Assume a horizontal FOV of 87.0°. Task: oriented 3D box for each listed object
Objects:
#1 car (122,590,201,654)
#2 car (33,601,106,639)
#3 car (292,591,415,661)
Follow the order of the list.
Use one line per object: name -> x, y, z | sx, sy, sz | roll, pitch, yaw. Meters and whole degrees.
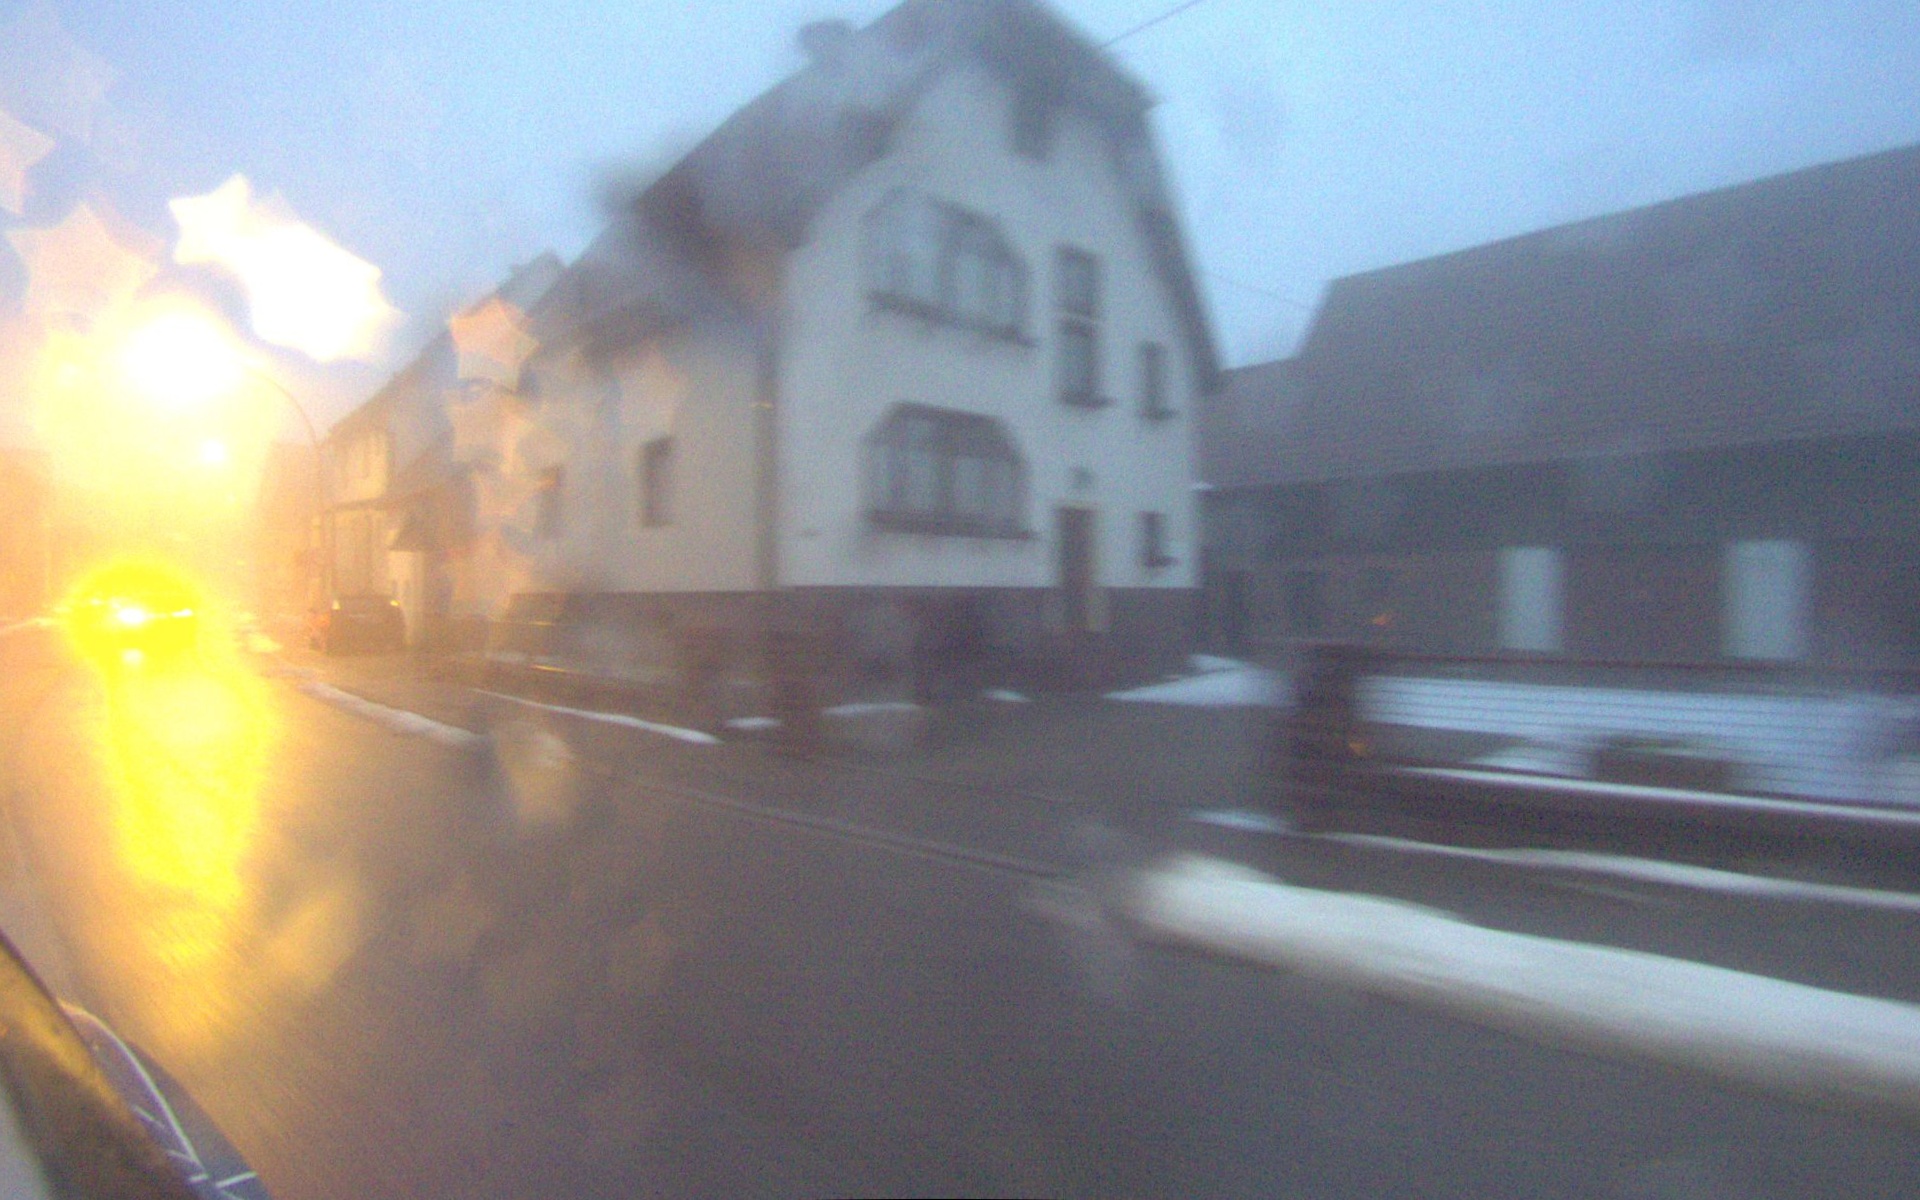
car -> -24.831, 0.615, 31.496 | 1.817, 1.700, 4.487 | 0, 2, -39
car -> -40.280, 0.875, 45.876 | 1.884, 1.492, 4.294 | -1, 2, -34
car -> -15.359, 0.613, 25.525 | 1.969, 1.534, 4.197 | -3, 2, -40
